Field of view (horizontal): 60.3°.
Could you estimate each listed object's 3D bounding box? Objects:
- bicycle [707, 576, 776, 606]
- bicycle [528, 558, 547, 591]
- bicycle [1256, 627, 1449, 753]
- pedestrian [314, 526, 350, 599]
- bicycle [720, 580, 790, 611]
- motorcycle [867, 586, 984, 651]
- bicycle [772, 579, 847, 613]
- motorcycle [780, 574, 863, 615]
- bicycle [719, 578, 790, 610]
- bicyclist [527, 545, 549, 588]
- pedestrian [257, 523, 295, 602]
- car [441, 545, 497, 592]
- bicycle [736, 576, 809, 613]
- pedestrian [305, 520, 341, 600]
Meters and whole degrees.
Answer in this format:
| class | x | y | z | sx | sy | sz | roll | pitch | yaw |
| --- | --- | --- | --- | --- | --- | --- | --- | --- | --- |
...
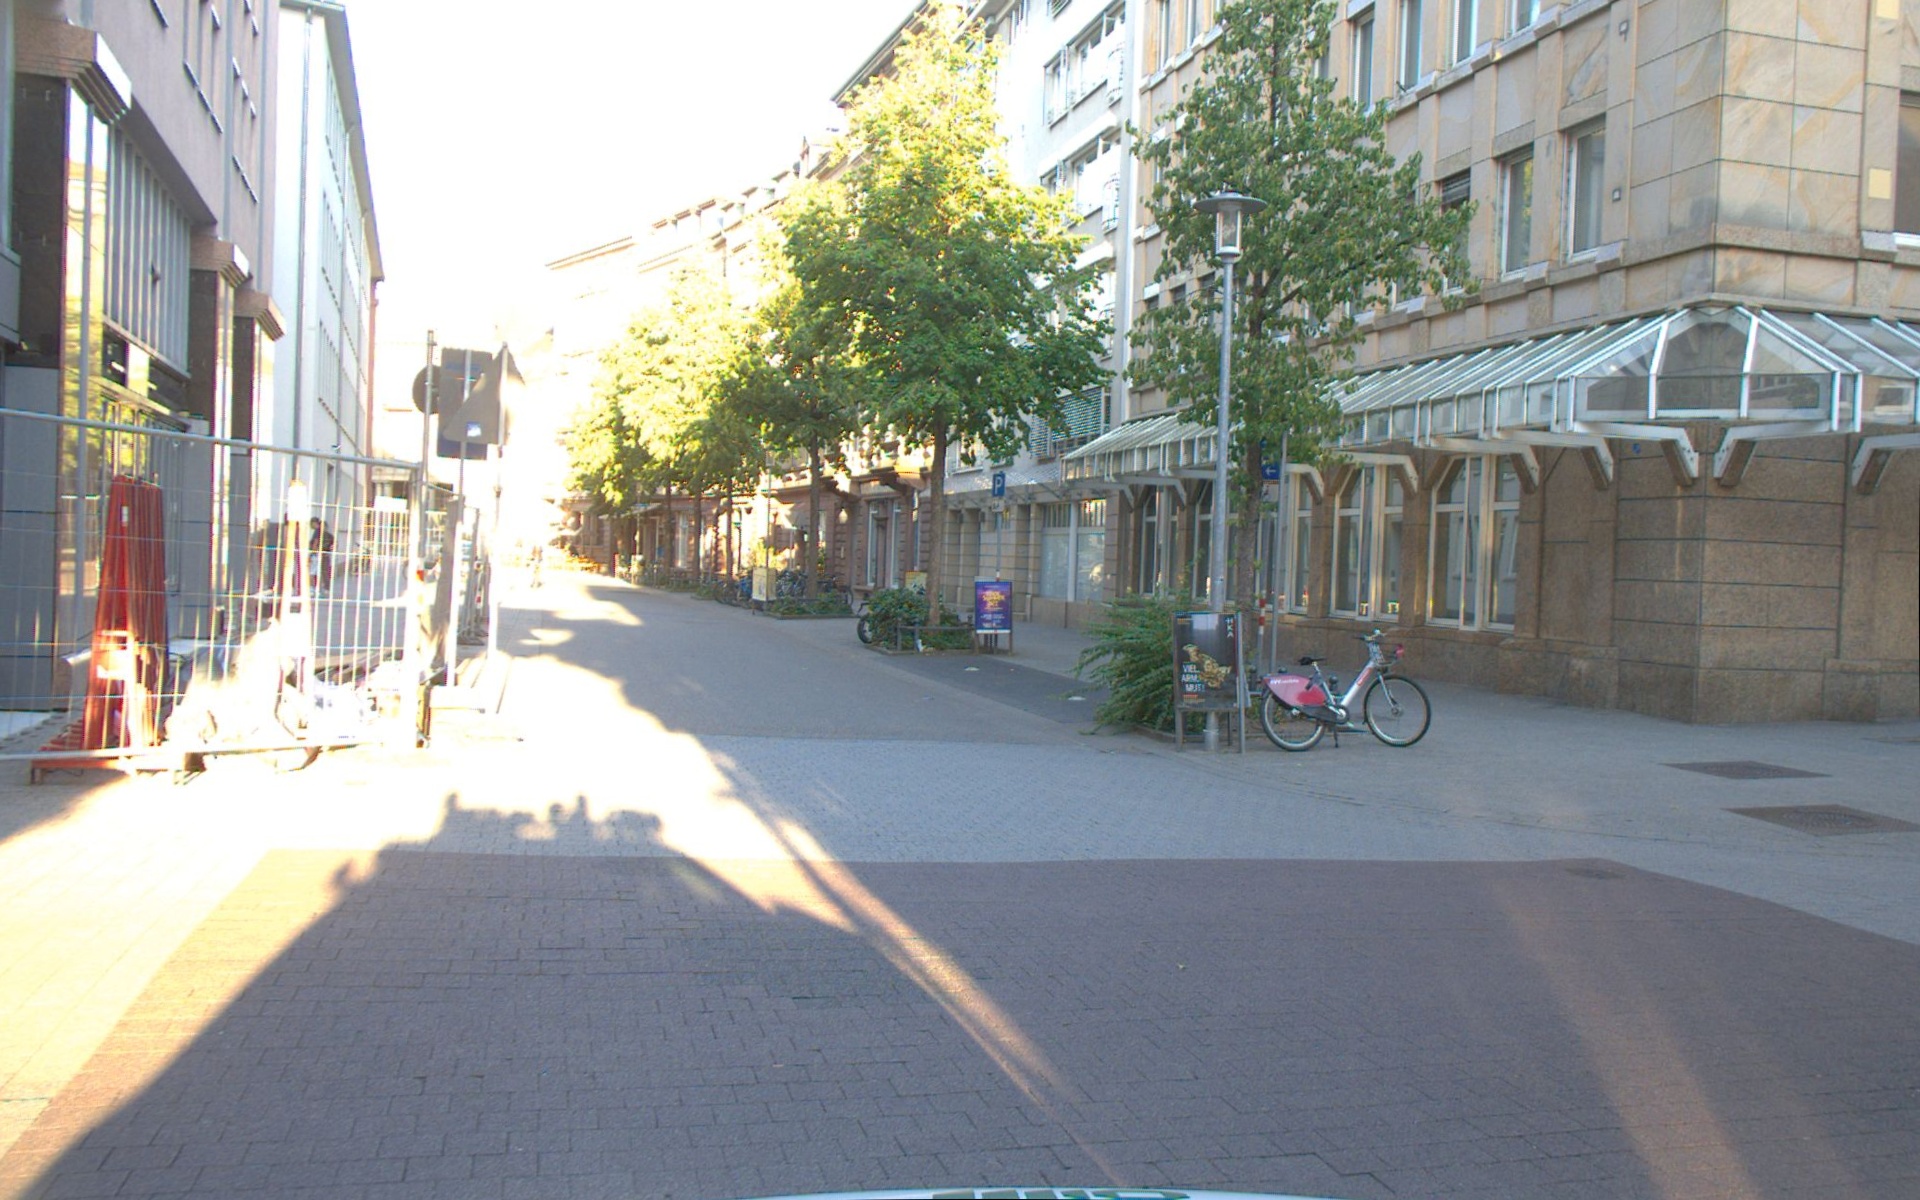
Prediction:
| class | x | y | z | sx | sy | sz | roll | pitch | yaw |
| --- | --- | --- | --- | --- | --- | --- | --- | --- | --- |
| bicycle | -7.085 | -0.294 | 53.687 | 2.124 | 0.942 | 0.586 | 1 | 0 | -23 |
| bicycle | -14.906 | -0.895 | 58.353 | 0.579 | 1.114 | 2.150 | 1 | 0 | -16 |
| bicycle | 3.588 | 0.819 | 15.215 | 1.621 | 1.069 | 0.663 | -1 | 2 | 3 |
| pedestrian | -14.600 | -0.876 | 38.478 | 0.642 | 1.680 | 0.632 | 1 | 1 | -11 |
| bicycle | -6.543 | -0.154 | 52.756 | 2.124 | 0.942 | 0.586 | 1 | 0 | -23 |
| motorcycle | -0.646 | 0.348 | 30.994 | 2.120 | 1.171 | 0.491 | 1 | 0 | -19 |
| bicycle | -4.365 | -0.112 | 48.088 | 2.131 | 0.942 | 0.584 | 1 | 0 | -31 |
| motorcycle | -3.926 | -0.144 | 47.029 | 2.453 | 1.114 | 0.583 | 1 | 0 | -38 |
| bicycle | -6.442 | -0.191 | 51.865 | 2.124 | 0.942 | 0.586 | 1 | 0 | -23 |
| bicyclist | -14.875 | -1.188 | 58.309 | 0.710 | 1.494 | 0.714 | 1 | 1 | -17 |
| pedestrian | -15.584 | -0.853 | 37.688 | 0.642 | 1.755 | 0.632 | 1 | 1 | -11 |
| car | -18.817 | -1.205 | 63.305 | 1.815 | 1.713 | 3.623 | 1 | 1 | -20 |
| bicycle | -5.628 | -0.162 | 49.731 | 2.109 | 1.079 | 0.590 | 1 | 0 | -2 |
| pedestrian | -14.599 | -0.917 | 37.918 | 0.642 | 1.794 | 0.632 | 1 | 1 | -11 |
